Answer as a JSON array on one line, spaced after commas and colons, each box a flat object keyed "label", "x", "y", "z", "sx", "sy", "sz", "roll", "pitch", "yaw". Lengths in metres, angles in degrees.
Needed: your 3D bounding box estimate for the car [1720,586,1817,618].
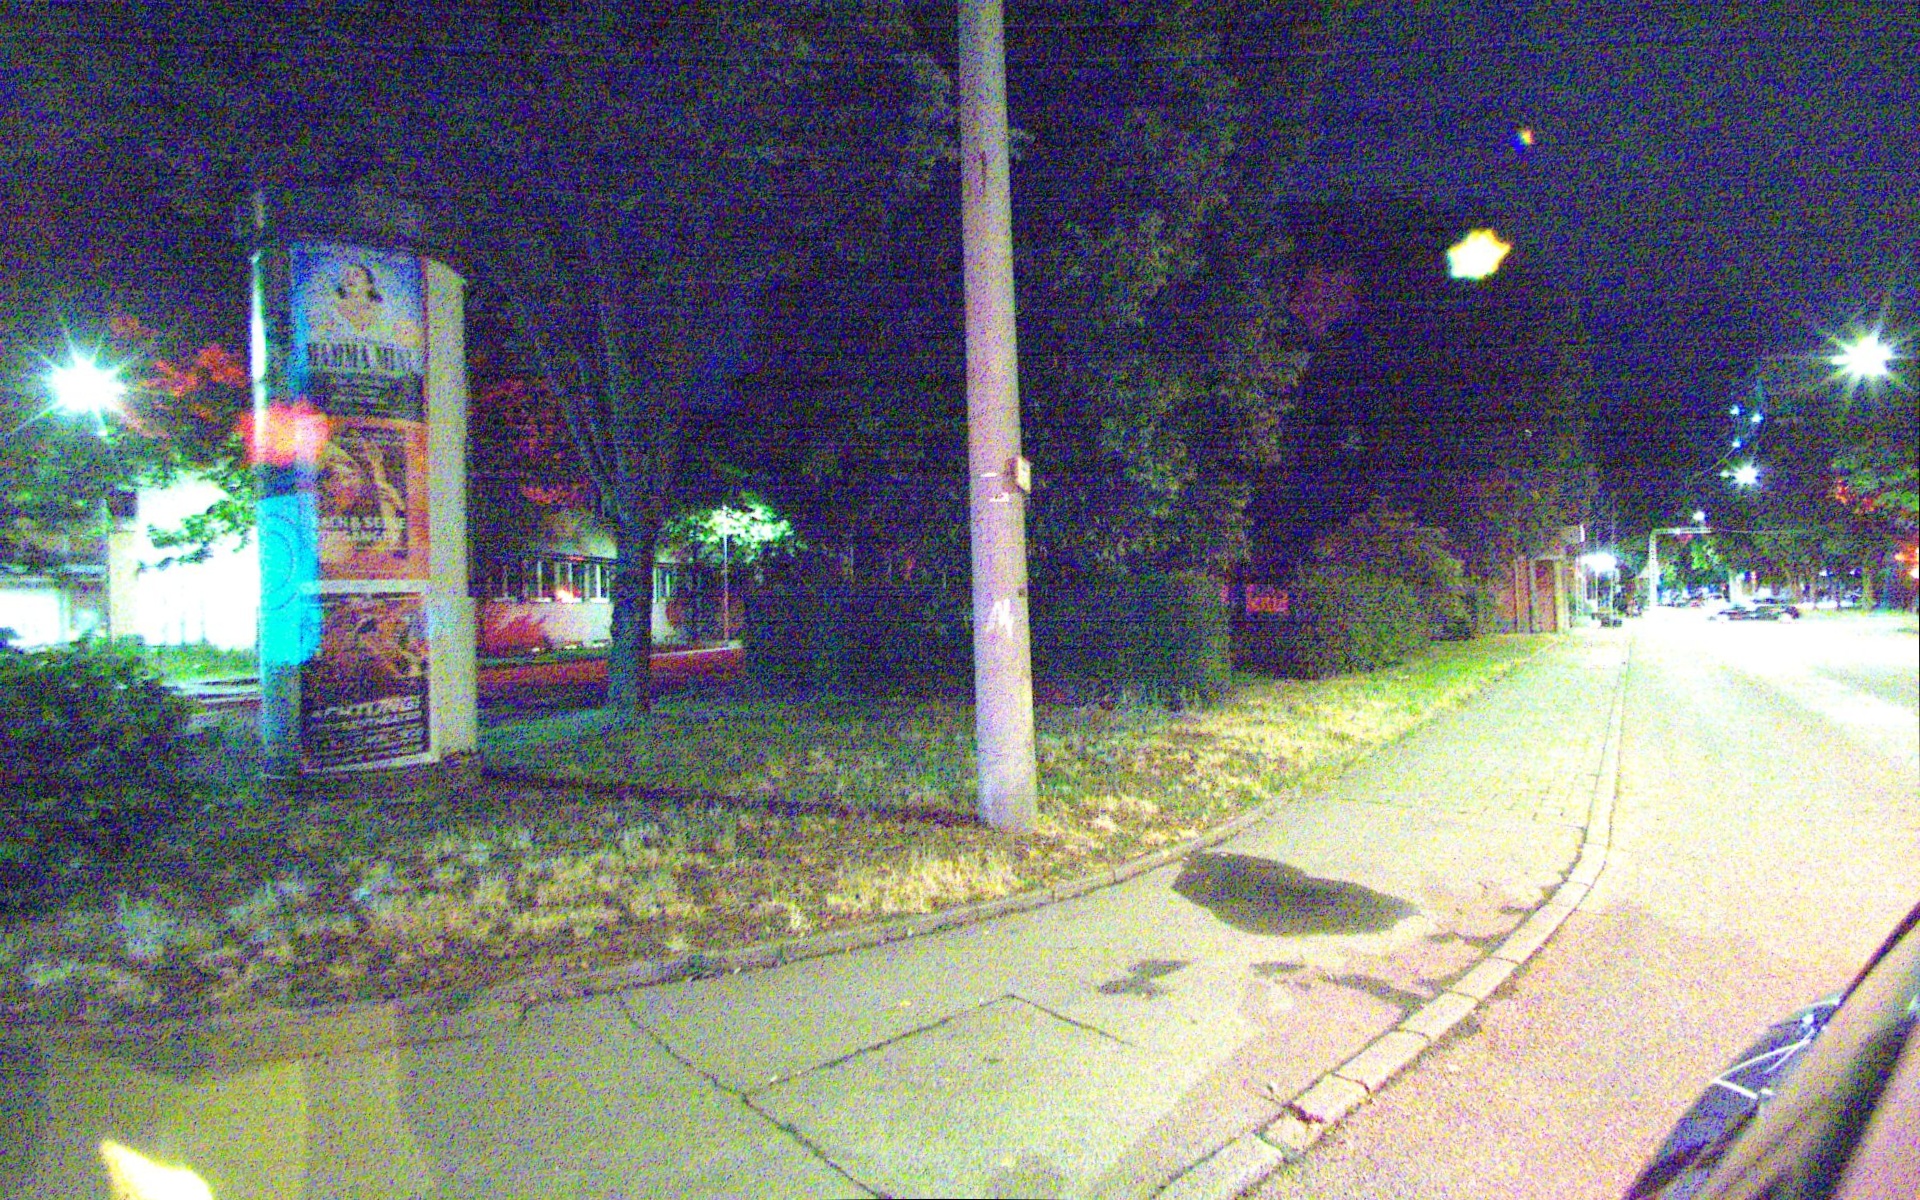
[{"label": "car", "x": 43.279, "y": 0.130, "z": 54.276, "sx": 3.980, "sy": 1.653, "sz": 1.848, "roll": -1, "pitch": -1, "yaw": 39}]
